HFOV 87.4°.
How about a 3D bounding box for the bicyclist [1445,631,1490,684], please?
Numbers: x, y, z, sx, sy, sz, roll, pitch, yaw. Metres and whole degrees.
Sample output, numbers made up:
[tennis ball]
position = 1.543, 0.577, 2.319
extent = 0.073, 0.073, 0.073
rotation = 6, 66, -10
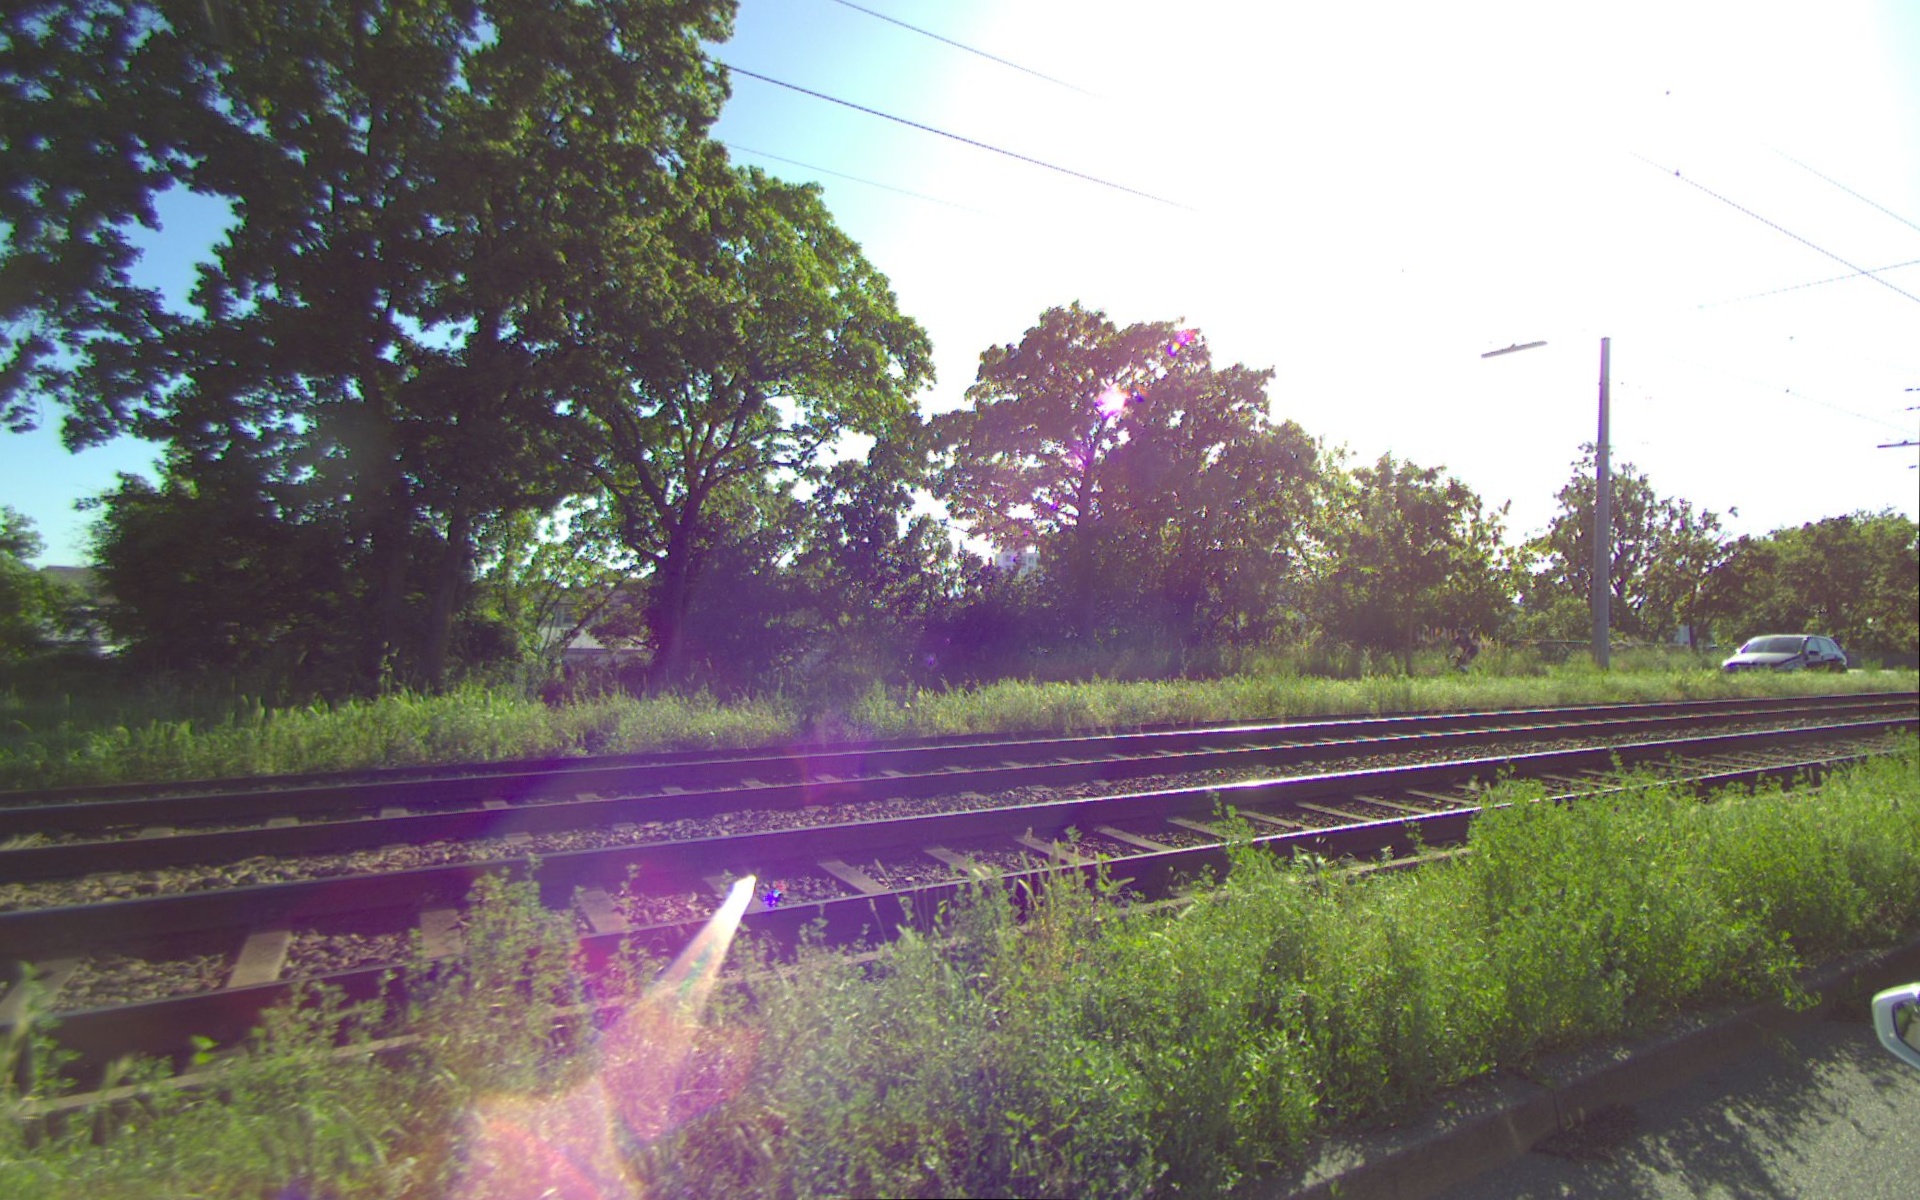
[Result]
[bicyclist]
position = 13.068, 1.469, 25.856
extent = 0.975, 1.328, 0.580
rotation = 1, 1, -30

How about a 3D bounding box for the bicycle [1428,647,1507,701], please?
[bicycle]
position = 13.079, 1.882, 25.877
extent = 2.398, 1.278, 0.587
rotation = 1, 0, -30

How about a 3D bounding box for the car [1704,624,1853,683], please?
[car]
position = 23.162, 1.462, 28.389
extent = 4.353, 1.508, 1.801
rotation = 1, 0, -29
